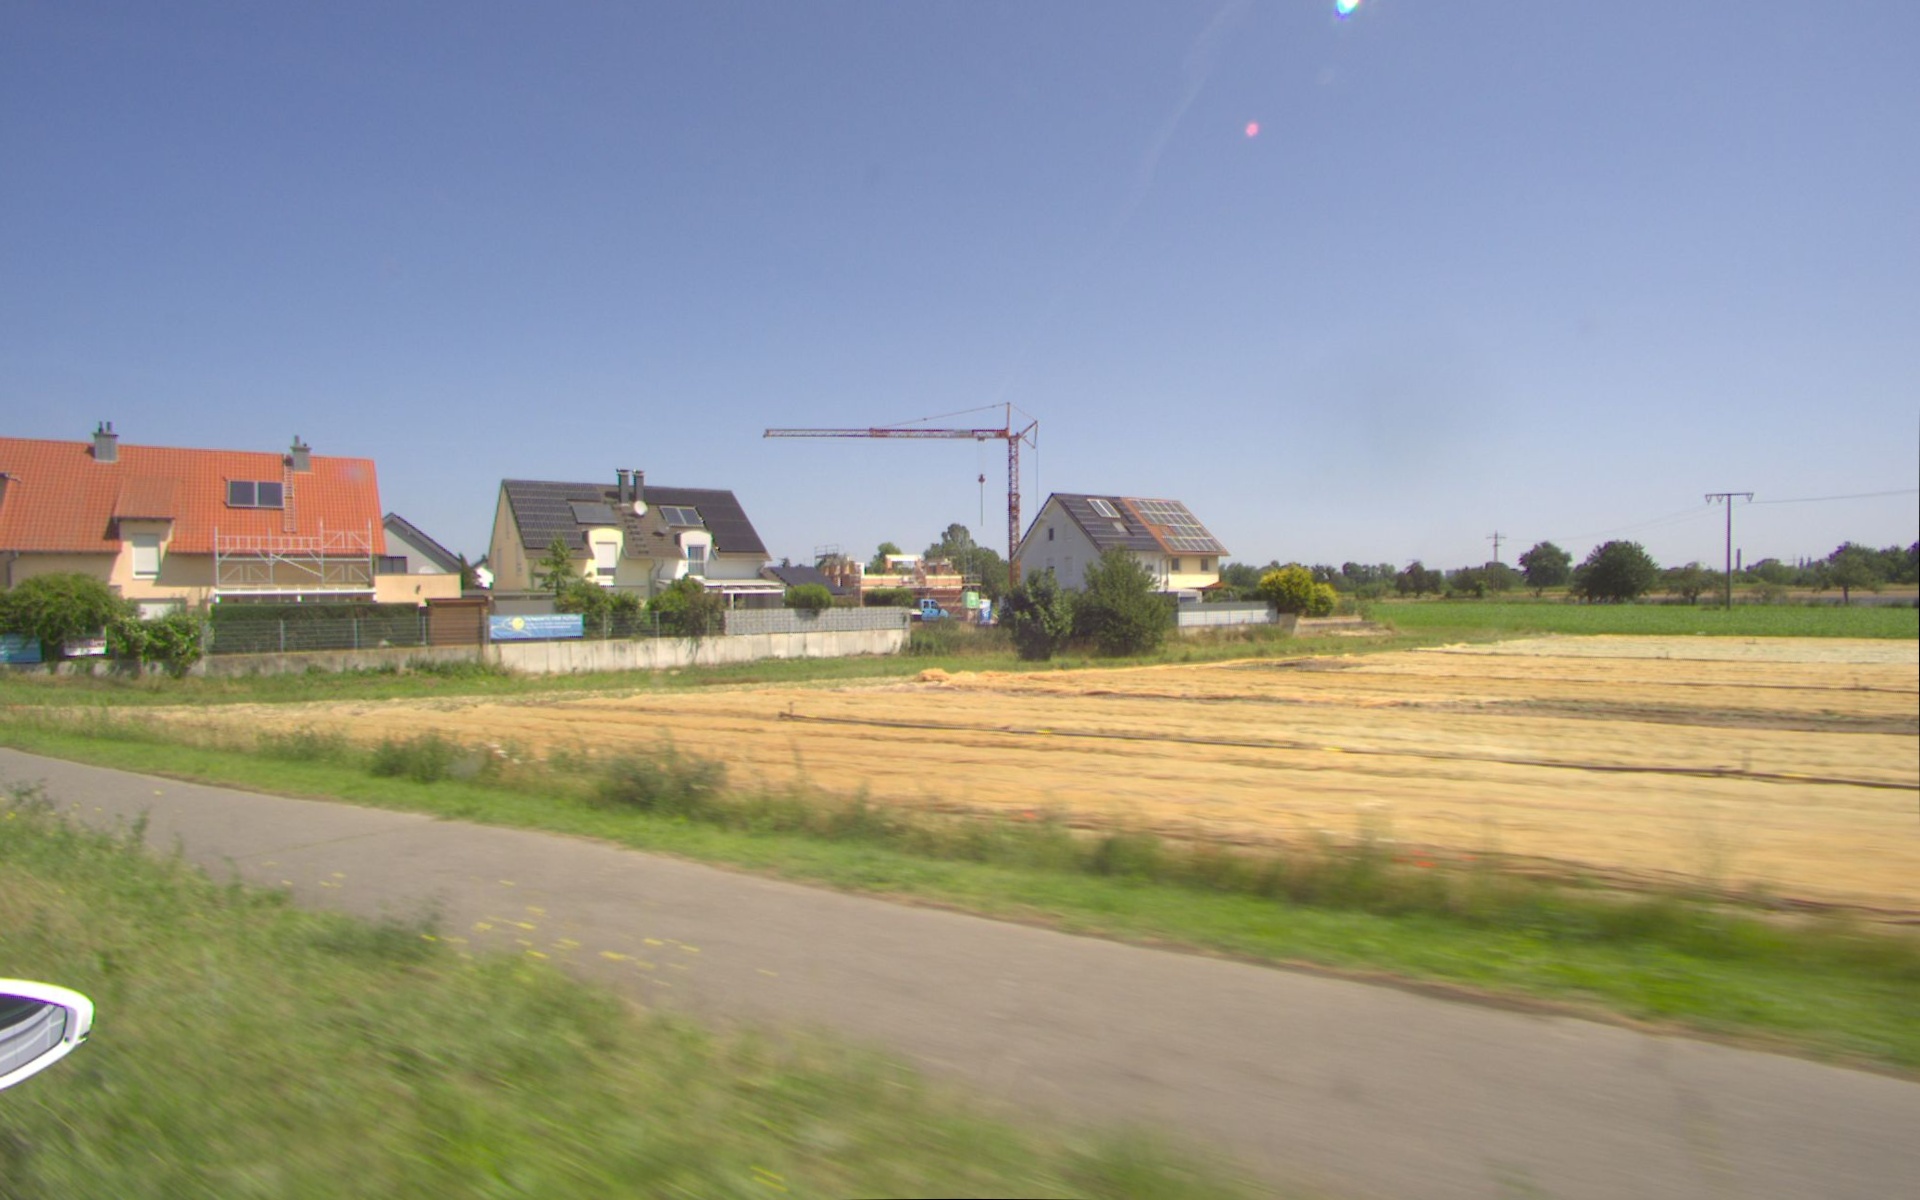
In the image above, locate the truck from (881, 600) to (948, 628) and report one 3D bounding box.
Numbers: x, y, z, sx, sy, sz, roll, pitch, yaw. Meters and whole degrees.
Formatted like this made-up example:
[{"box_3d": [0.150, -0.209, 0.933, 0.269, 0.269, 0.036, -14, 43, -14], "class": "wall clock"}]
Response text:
[{"box_3d": [-3.979, 1.171, 88.042, 5.497, 2.260, 2.200, -2, 1, -34], "class": "truck"}]
